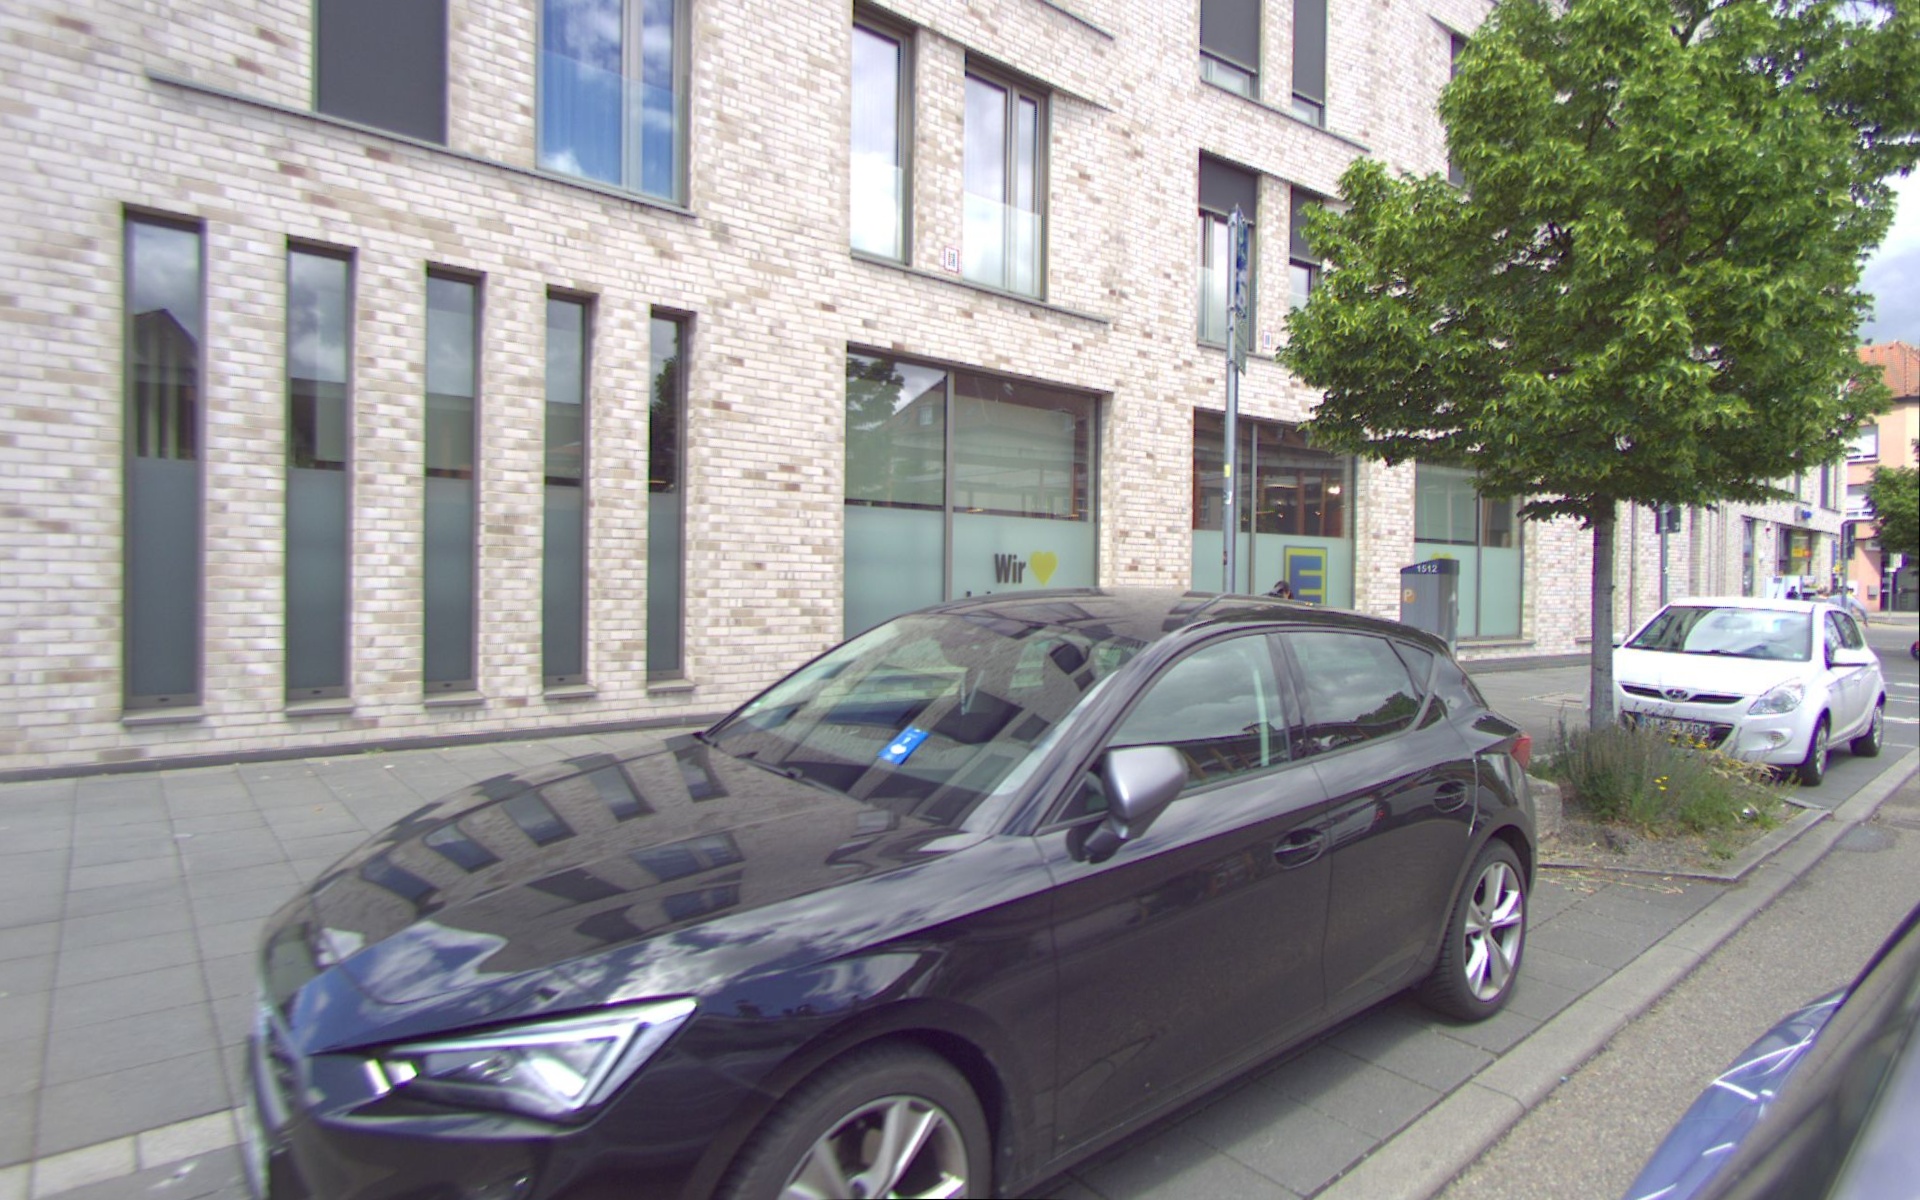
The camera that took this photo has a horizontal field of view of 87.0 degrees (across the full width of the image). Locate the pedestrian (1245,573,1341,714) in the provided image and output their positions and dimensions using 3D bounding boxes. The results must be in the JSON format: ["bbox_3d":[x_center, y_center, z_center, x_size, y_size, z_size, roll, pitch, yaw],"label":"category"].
[{"bbox_3d":[3.704,0.462,11.266,0.775,1.490,0.610,1,2,-32],"label":"pedestrian"}]

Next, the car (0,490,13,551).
[{"bbox_3d":[-28.259,-2.273,28.012,1.959,1.771,4.008,2,3,-28],"label":"car"}]

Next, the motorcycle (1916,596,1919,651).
[{"bbox_3d":[23.200,0.614,22.963,0.658,1.281,2.062,0,3,-22],"label":"motorcycle"}]

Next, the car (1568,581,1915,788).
[{"bbox_3d":[7.384,0.618,9.456,3.729,1.501,1.697,0,3,-39],"label":"car"}]

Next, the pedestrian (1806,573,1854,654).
[{"bbox_3d":[19.934,0.289,23.179,0.755,1.788,0.723,2,3,44],"label":"pedestrian"}]

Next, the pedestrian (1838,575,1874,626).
[{"bbox_3d":[30.930,0.007,34.935,0.620,1.713,0.660,0,1,1],"label":"pedestrian"}]

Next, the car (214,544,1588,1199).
[{"bbox_3d":[0.222,0.630,3.178,4.072,1.479,1.697,0,3,-39],"label":"car"}]

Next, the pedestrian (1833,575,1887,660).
[{"bbox_3d":[19.567,0.365,22.004,0.722,1.788,0.625,-1,2,-26],"label":"pedestrian"}]
